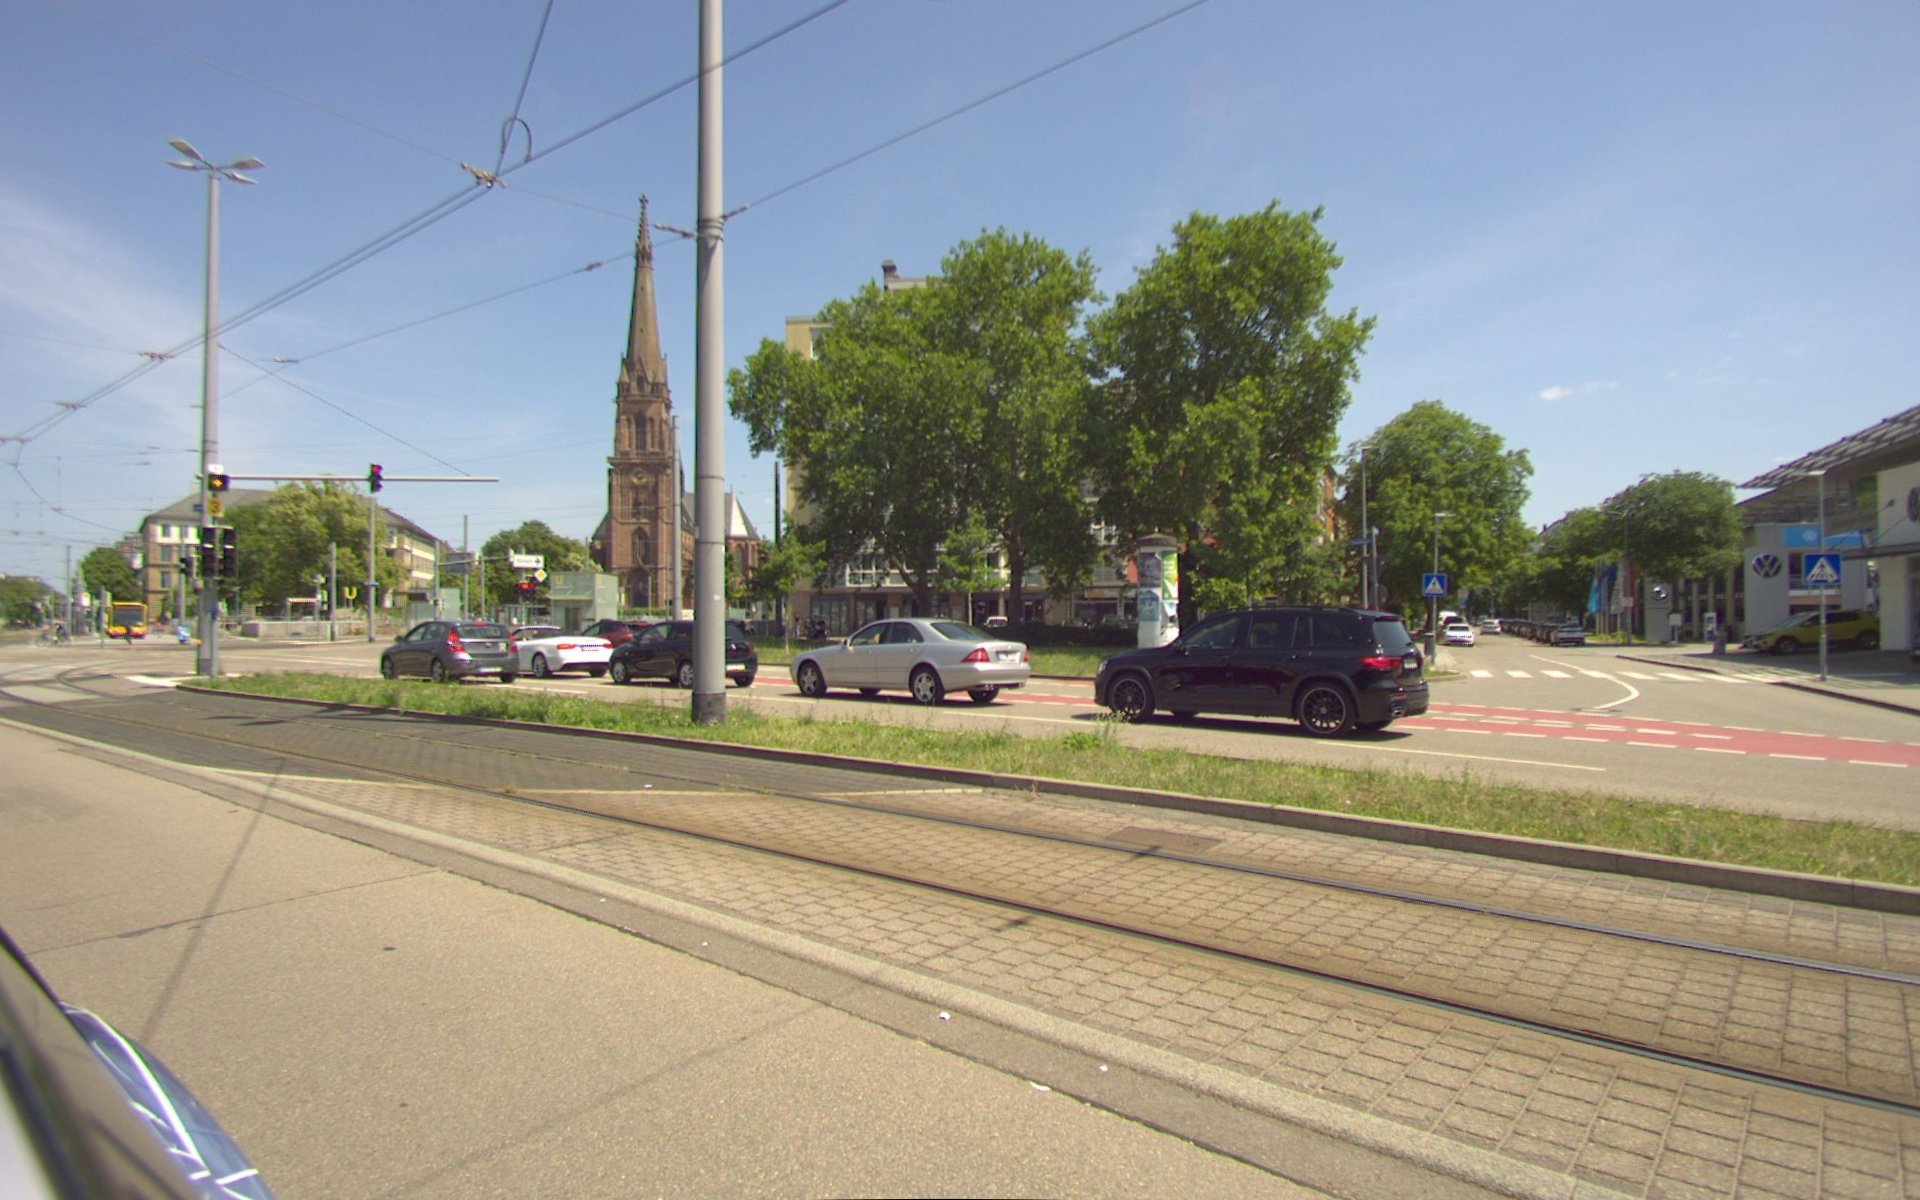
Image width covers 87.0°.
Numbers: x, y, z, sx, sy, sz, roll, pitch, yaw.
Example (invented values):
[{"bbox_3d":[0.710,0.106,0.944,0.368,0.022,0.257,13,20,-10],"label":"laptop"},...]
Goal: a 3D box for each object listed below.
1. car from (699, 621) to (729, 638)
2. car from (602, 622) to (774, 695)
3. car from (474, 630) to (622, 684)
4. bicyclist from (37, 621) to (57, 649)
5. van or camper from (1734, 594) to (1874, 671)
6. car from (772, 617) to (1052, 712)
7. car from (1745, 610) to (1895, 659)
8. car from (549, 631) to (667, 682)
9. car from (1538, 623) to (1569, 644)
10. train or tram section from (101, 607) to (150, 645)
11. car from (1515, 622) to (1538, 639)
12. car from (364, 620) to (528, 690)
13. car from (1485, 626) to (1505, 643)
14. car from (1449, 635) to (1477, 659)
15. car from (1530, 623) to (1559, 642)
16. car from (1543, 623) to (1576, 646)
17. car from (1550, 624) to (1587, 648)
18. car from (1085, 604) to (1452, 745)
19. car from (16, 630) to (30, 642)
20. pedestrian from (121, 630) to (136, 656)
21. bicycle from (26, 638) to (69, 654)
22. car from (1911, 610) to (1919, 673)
[{"bbox_3d":[-23.534,2.816,96.908,1.756,1.541,3.996,-1,-1,3],"label":"car"},{"bbox_3d":[-6.081,1.253,22.454,3.897,1.473,1.655,-1,-3,38],"label":"car"},{"bbox_3d":[-10.886,1.466,26.615,4.196,1.309,1.691,-1,-3,37],"label":"car"},{"bbox_3d":[-56.900,2.166,63.104,0.527,1.701,0.804,-1,-2,33],"label":"bicyclist"},{"bbox_3d":[34.635,1.323,41.679,3.979,3.026,1.982,-1,-2,27],"label":"van or camper"},{"bbox_3d":[-0.996,1.119,18.721,5.124,1.542,1.974,-1,-3,38],"label":"car"},{"bbox_3d":[33.270,1.334,39.299,4.076,1.846,1.647,-1,-2,26],"label":"car"},{"bbox_3d":[-11.707,1.850,33.532,4.392,1.610,1.519,-2,-3,37],"label":"car"},{"bbox_3d":[46.164,2.600,78.824,1.821,1.570,3.963,-1,-2,27],"label":"car"},{"bbox_3d":[-73.923,2.325,89.572,2.801,3.238,9.119,1,-2,-43],"label":"train or tram section"},{"bbox_3d":[55.803,2.987,99.702,1.821,1.570,3.963,-1,-2,27],"label":"car"},{"bbox_3d":[-12.151,1.270,23.826,4.325,1.491,1.825,-2,-3,39],"label":"car"},{"bbox_3d":[55.876,3.595,105.759,1.773,1.807,3.963,-1,-2,27],"label":"car"},{"bbox_3d":[32.747,3.024,65.994,1.536,1.444,3.965,-1,-1,26],"label":"car"},{"bbox_3d":[48.451,2.695,83.915,1.821,1.570,3.963,-1,-2,27],"label":"car"},{"bbox_3d":[44.122,2.522,74.583,1.821,1.570,3.963,-1,-2,27],"label":"car"},{"bbox_3d":[41.010,2.409,68.308,1.821,1.570,3.963,-1,-2,27],"label":"car"},{"bbox_3d":[4.115,0.940,13.979,4.522,1.639,1.803,-2,-3,41],"label":"car"},{"bbox_3d":[-128.193,4.899,138.443,1.419,1.608,4.004,1,-2,-43],"label":"car"},{"bbox_3d":[-55.454,2.856,67.489,0.446,1.684,0.652,-1,-2,22],"label":"pedestrian"},{"bbox_3d":[-56.837,2.854,63.041,0.527,0.986,1.885,-1,-2,33],"label":"bicycle"},{"bbox_3d":[26.700,1.059,25.785,3.294,1.630,1.424,-1,-1,10],"label":"car"}]
